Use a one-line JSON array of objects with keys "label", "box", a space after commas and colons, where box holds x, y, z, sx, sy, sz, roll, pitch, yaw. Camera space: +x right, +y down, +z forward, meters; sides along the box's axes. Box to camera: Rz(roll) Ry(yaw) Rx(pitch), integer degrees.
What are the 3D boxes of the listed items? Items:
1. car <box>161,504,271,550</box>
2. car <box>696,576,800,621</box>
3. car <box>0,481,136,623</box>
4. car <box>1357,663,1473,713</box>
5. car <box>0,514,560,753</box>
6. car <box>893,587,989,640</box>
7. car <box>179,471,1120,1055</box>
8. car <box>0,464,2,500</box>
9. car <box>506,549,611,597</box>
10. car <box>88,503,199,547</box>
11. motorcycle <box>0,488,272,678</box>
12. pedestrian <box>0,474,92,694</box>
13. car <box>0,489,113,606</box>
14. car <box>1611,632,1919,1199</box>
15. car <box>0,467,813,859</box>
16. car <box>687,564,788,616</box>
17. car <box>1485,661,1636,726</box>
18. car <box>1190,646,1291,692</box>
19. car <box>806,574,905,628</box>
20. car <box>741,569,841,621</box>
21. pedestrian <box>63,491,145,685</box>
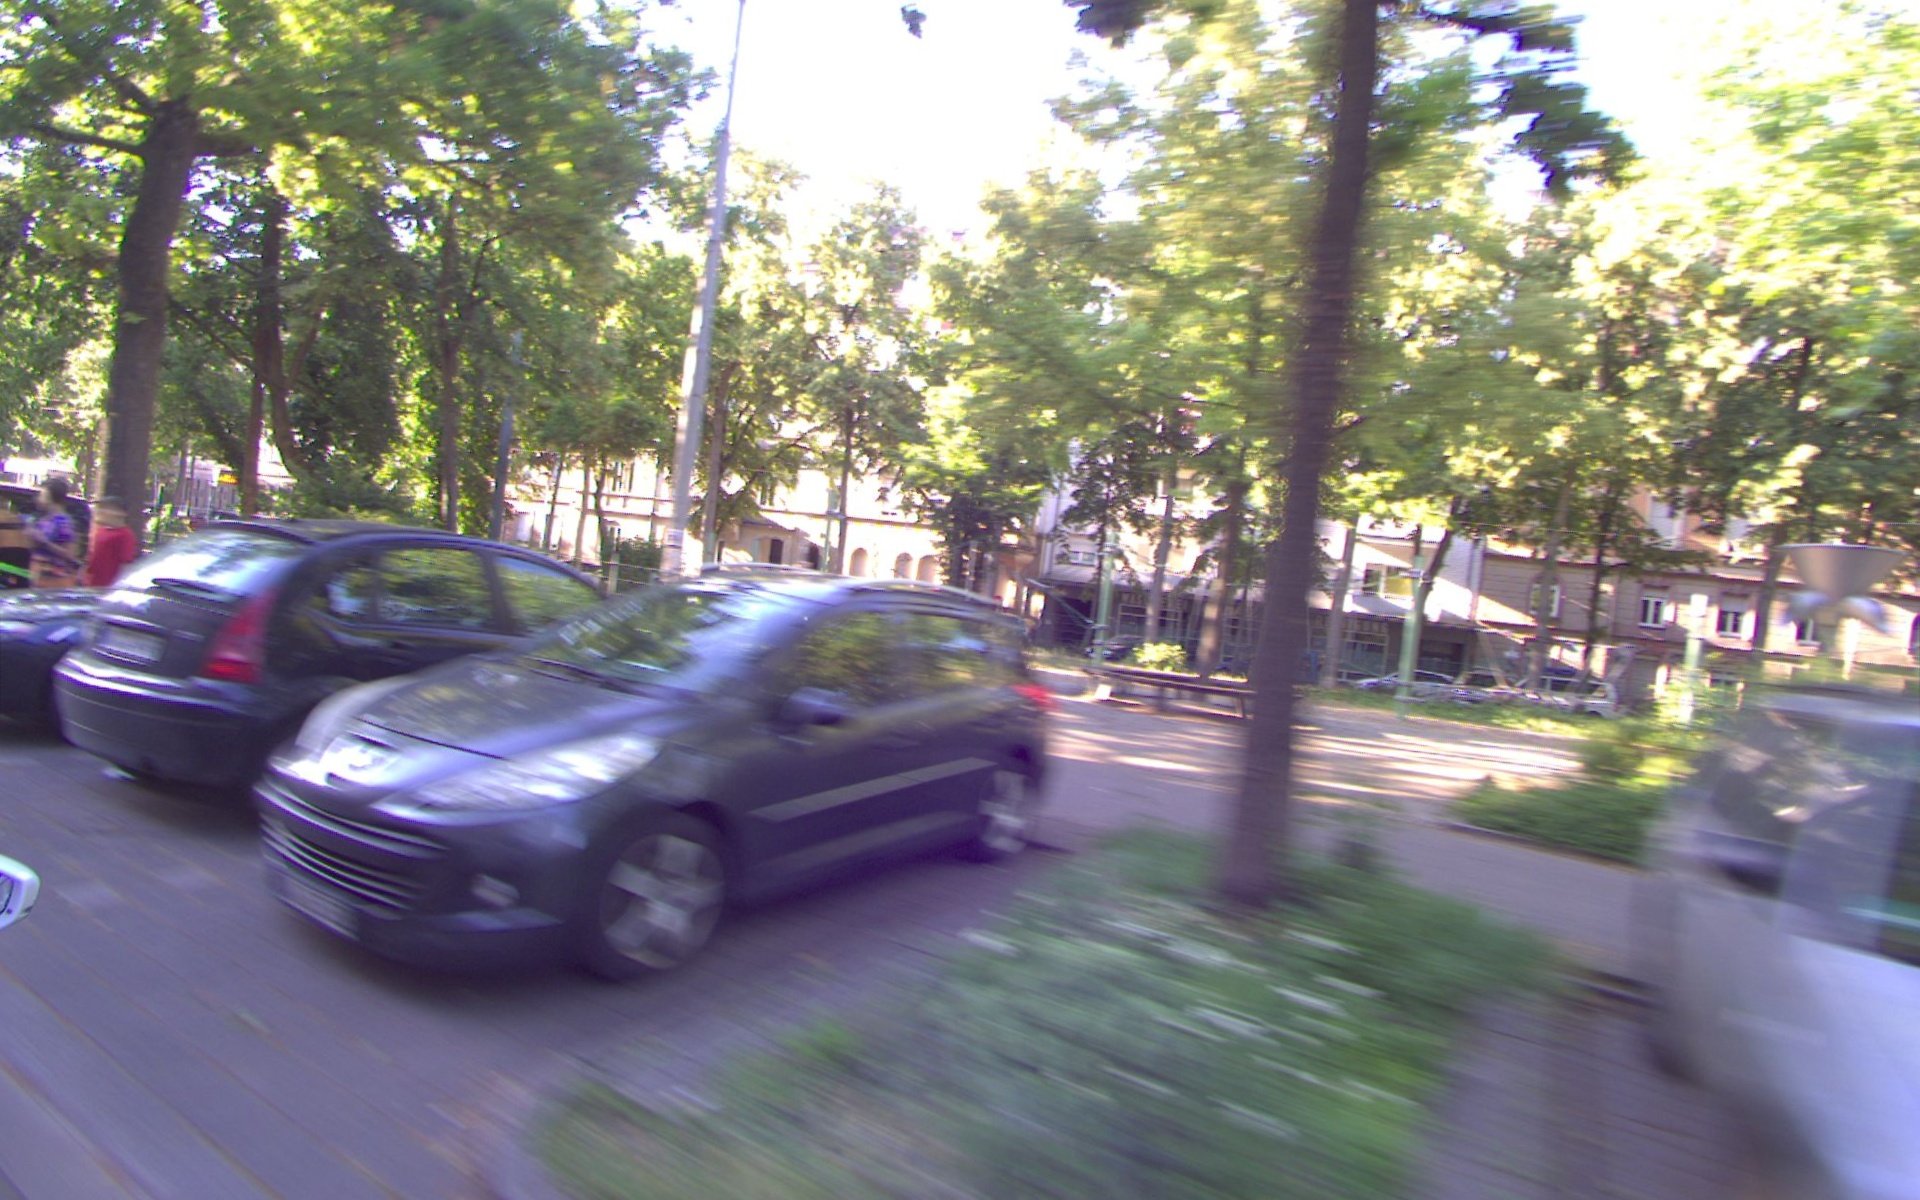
[{"label": "car", "box": [-40.767, -3.950, 55.252, 4.673, 1.703, 1.982, 8, -3, -36]}, {"label": "car", "box": [-10.746, -0.063, 50.988, 4.649, 1.706, 2.002, 5, -2, 17]}, {"label": "car", "box": [-11.599, -0.652, 10.933, 1.733, 1.521, 3.676, 7, 1, 32]}, {"label": "car", "box": [18.917, 3.646, 42.004, 3.923, 1.570, 2.003, 6, -2, 11]}, {"label": "car", "box": [-5.153, 0.223, 7.377, 1.662, 1.295, 3.848, 6, 0, 30]}, {"label": "car", "box": [-0.883, 0.651, 47.610, 3.924, 2.037, 2.002, 5, -2, 17]}, {"label": "car", "box": [-0.950, 0.532, 5.153, 1.807, 1.611, 4.403, 6, 0, 32]}, {"label": "car", "box": [-17.850, -1.500, 15.432, 1.733, 1.888, 4.222, 7, 1, 32]}, {"label": "car", "box": [-18.505, -1.225, 46.464, 3.970, 1.703, 1.979, 8, -3, -40]}, {"label": "car", "box": [-46.375, -4.198, 57.287, 4.675, 1.703, 1.981, 8, -3, -37]}, {"label": "motorcycle", "box": [-7.703, -0.116, 9.212, 1.243, 1.479, 1.863, 5, -2, 32]}, {"label": "pedestrian", "box": [-7.008, -0.129, 7.715, 0.378, 1.605, 0.513, 7, 2, -39]}, {"label": "car", "box": [-13.501, -0.808, 12.555, 1.731, 1.461, 4.086, 6, 1, 29]}, {"label": "car", "box": [2.882, 1.031, 2.465, 1.807, 1.611, 4.405, 6, 0, 30]}, {"label": "car", "box": [-3.042, 0.333, 6.621, 1.805, 1.611, 4.408, 6, 0, 26]}, {"label": "car", "box": [-9.630, -0.403, 43.764, 1.967, 1.703, 3.995, 5, -3, 31]}, {"label": "car", "box": [24.030, 3.710, 40.426, 4.648, 2.037, 2.003, 6, -2, 11]}, {"label": "car", "box": [12.133, 2.993, 43.772, 3.923, 1.570, 2.003, 6, -2, 11]}, {"label": "car", "box": [-4.264, 0.067, 41.572, 1.967, 1.703, 3.995, 5, -3, 31]}, {"label": "car", "box": [-7.123, -0.181, 42.789, 1.967, 1.703, 3.995, 5, -3, 31]}, {"label": "pedestrian", "box": [-7.110, -0.106, 8.370, 0.378, 1.536, 0.513, 7, 2, -39]}]
